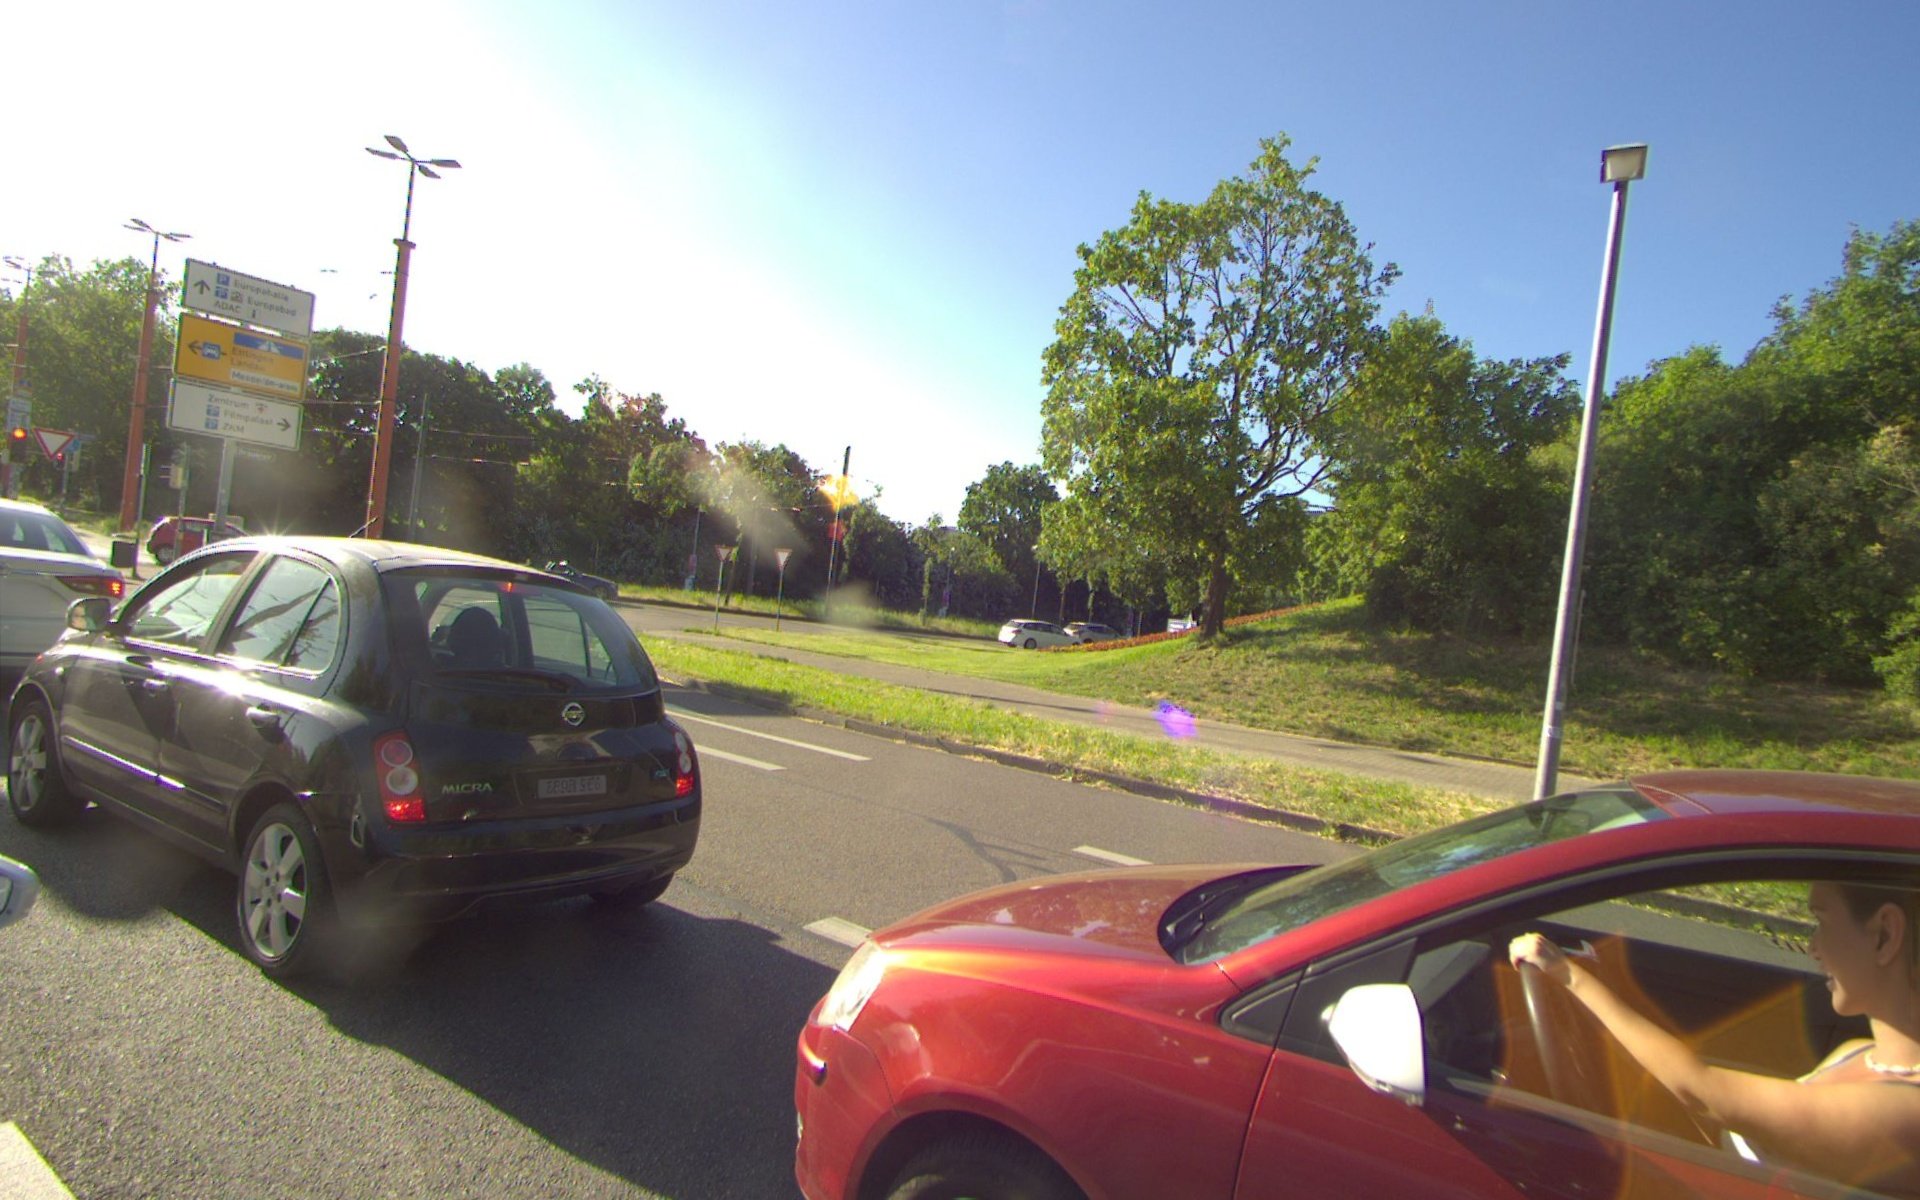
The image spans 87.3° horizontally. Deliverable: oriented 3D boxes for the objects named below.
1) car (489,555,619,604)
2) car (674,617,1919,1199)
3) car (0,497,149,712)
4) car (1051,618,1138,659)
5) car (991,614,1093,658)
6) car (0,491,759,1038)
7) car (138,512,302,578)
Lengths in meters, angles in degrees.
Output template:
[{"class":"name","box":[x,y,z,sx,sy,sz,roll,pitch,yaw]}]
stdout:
[{"class":"car","box":[-16.406,-0.825,40.713,4.617,1.379,1.758,8,-1,-30]},{"class":"car","box":[1.370,0.991,1.896,3.634,1.434,1.624,7,-1,34]},{"class":"car","box":[-8.347,-0.163,7.979,4.077,1.472,1.717,7,-1,33]},{"class":"car","box":[7.263,2.080,54.146,4.316,1.600,1.759,8,-1,-28]},{"class":"car","box":[4.038,1.770,49.257,4.718,1.512,1.758,8,-1,-30]},{"class":"car","box":[-2.822,0.465,4.626,3.457,1.524,1.558,7,0,32]},{"class":"car","box":[-23.625,-1.724,32.325,3.958,1.512,1.757,8,-1,-31]}]
